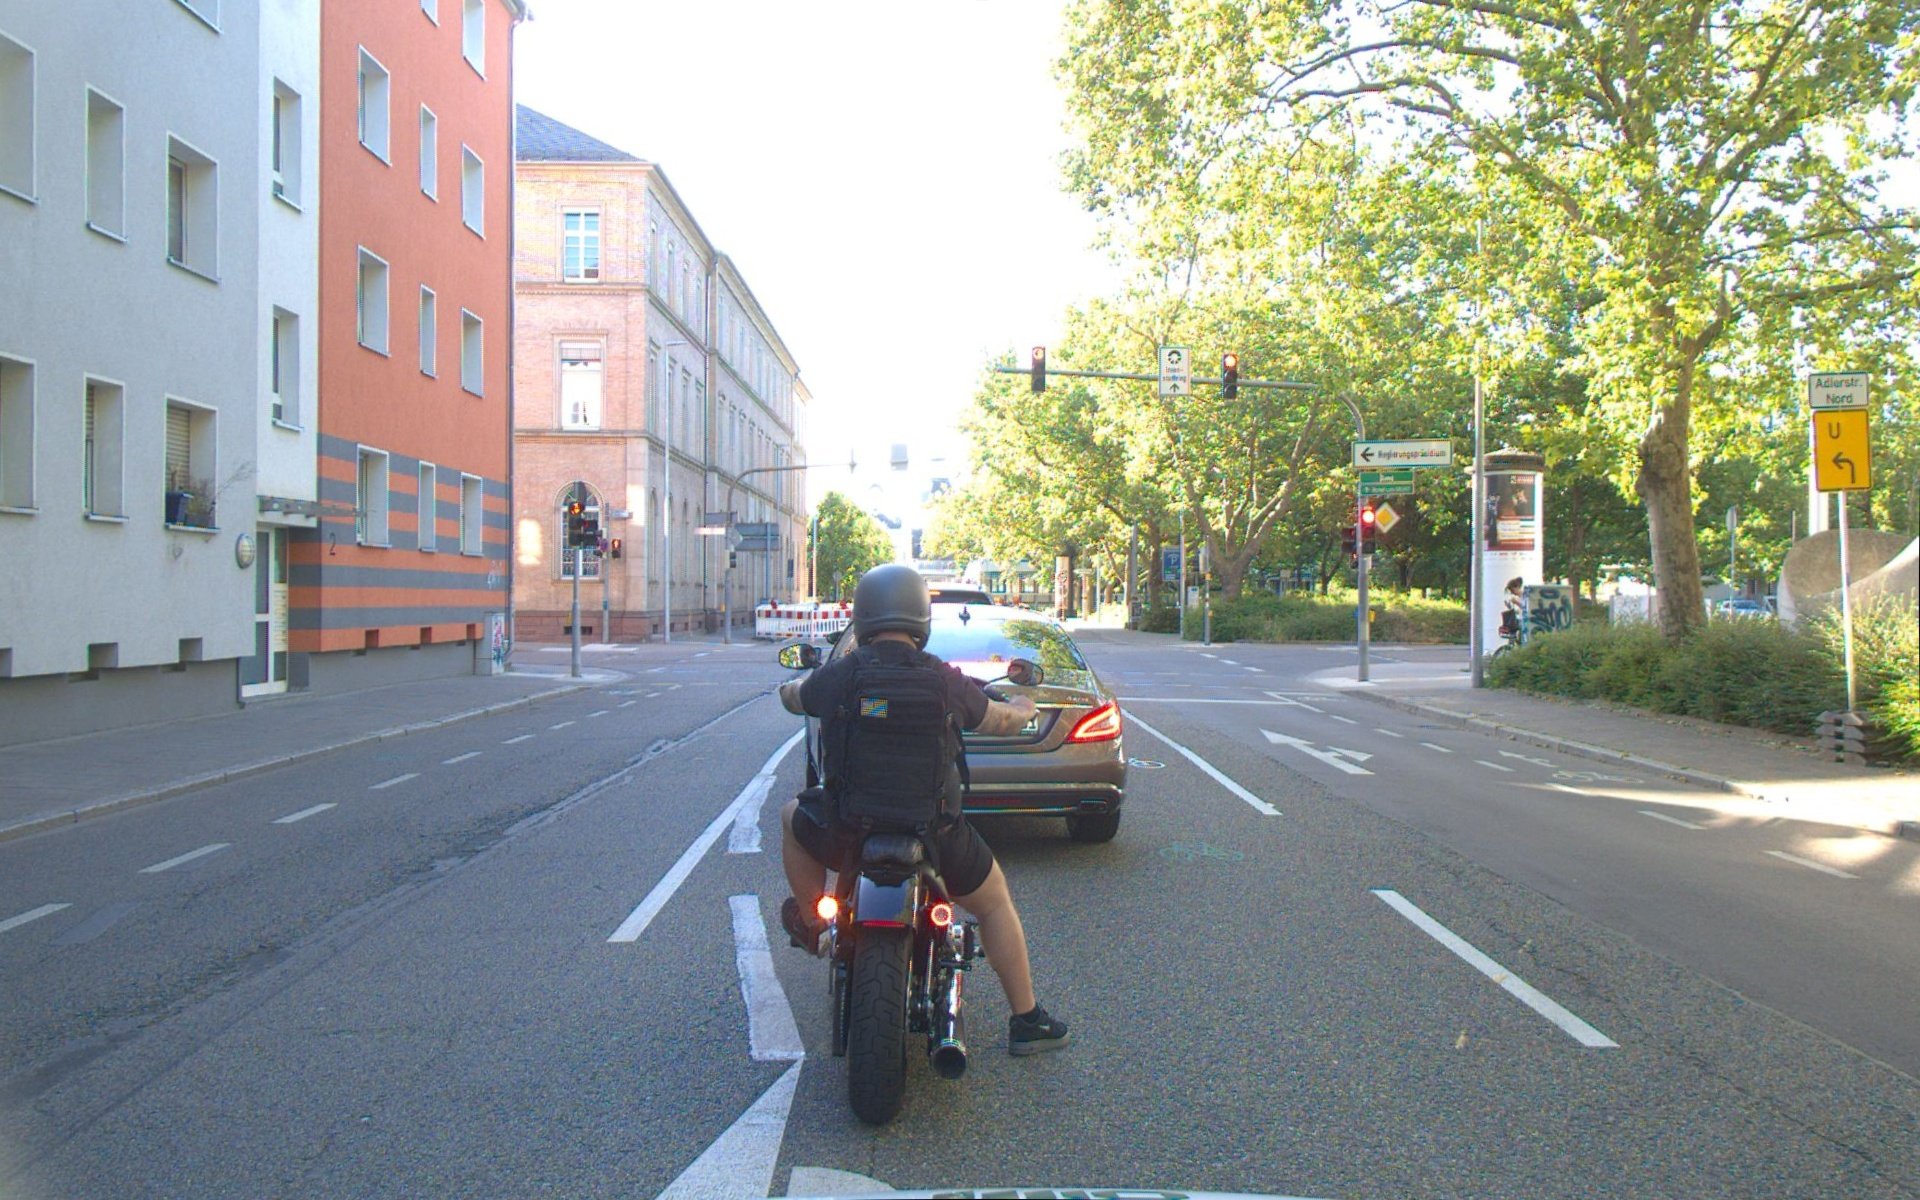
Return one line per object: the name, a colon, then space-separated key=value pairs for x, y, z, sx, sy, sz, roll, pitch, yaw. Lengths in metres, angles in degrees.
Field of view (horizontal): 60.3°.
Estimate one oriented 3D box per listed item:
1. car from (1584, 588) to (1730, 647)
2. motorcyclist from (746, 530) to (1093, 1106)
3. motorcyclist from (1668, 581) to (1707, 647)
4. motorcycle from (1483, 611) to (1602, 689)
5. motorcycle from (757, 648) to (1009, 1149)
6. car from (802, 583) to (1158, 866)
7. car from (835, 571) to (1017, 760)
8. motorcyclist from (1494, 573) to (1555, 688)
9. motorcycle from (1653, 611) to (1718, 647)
car: x=21.991 y=0.536 z=52.278 sx=3.907 sy=1.803 sz=1.737 roll=0 pitch=0 yaw=-3
motorcyclist: x=-0.123 y=0.628 z=5.310 sx=0.970 sy=1.639 sz=1.120 roll=1 pitch=0 yaw=-1
motorcyclist: x=21.124 y=0.396 z=48.056 sx=0.962 sy=1.909 sz=0.376 roll=0 pitch=-1 yaw=3
motorcycle: x=9.777 y=0.836 z=27.808 sx=1.743 sy=1.265 sz=0.723 roll=1 pitch=0 yaw=4
motorcycle: x=-0.218 y=0.818 z=5.400 sx=0.646 sy=1.261 sz=2.057 roll=1 pitch=0 yaw=-1
car: x=-0.085 y=0.684 z=11.110 sx=1.790 sy=1.512 sz=4.326 roll=1 pitch=0 yaw=-7
car: x=-0.330 y=0.600 z=16.953 sx=1.618 sy=1.681 sz=3.999 roll=1 pitch=0 yaw=-1
motorcyclist: x=9.485 y=0.504 z=27.819 sx=0.805 sy=1.896 sz=0.672 roll=1 pitch=-1 yaw=4
motorcycle: x=21.077 y=0.841 z=48.050 sx=1.683 sy=1.019 sz=0.416 roll=0 pitch=0 yaw=3
